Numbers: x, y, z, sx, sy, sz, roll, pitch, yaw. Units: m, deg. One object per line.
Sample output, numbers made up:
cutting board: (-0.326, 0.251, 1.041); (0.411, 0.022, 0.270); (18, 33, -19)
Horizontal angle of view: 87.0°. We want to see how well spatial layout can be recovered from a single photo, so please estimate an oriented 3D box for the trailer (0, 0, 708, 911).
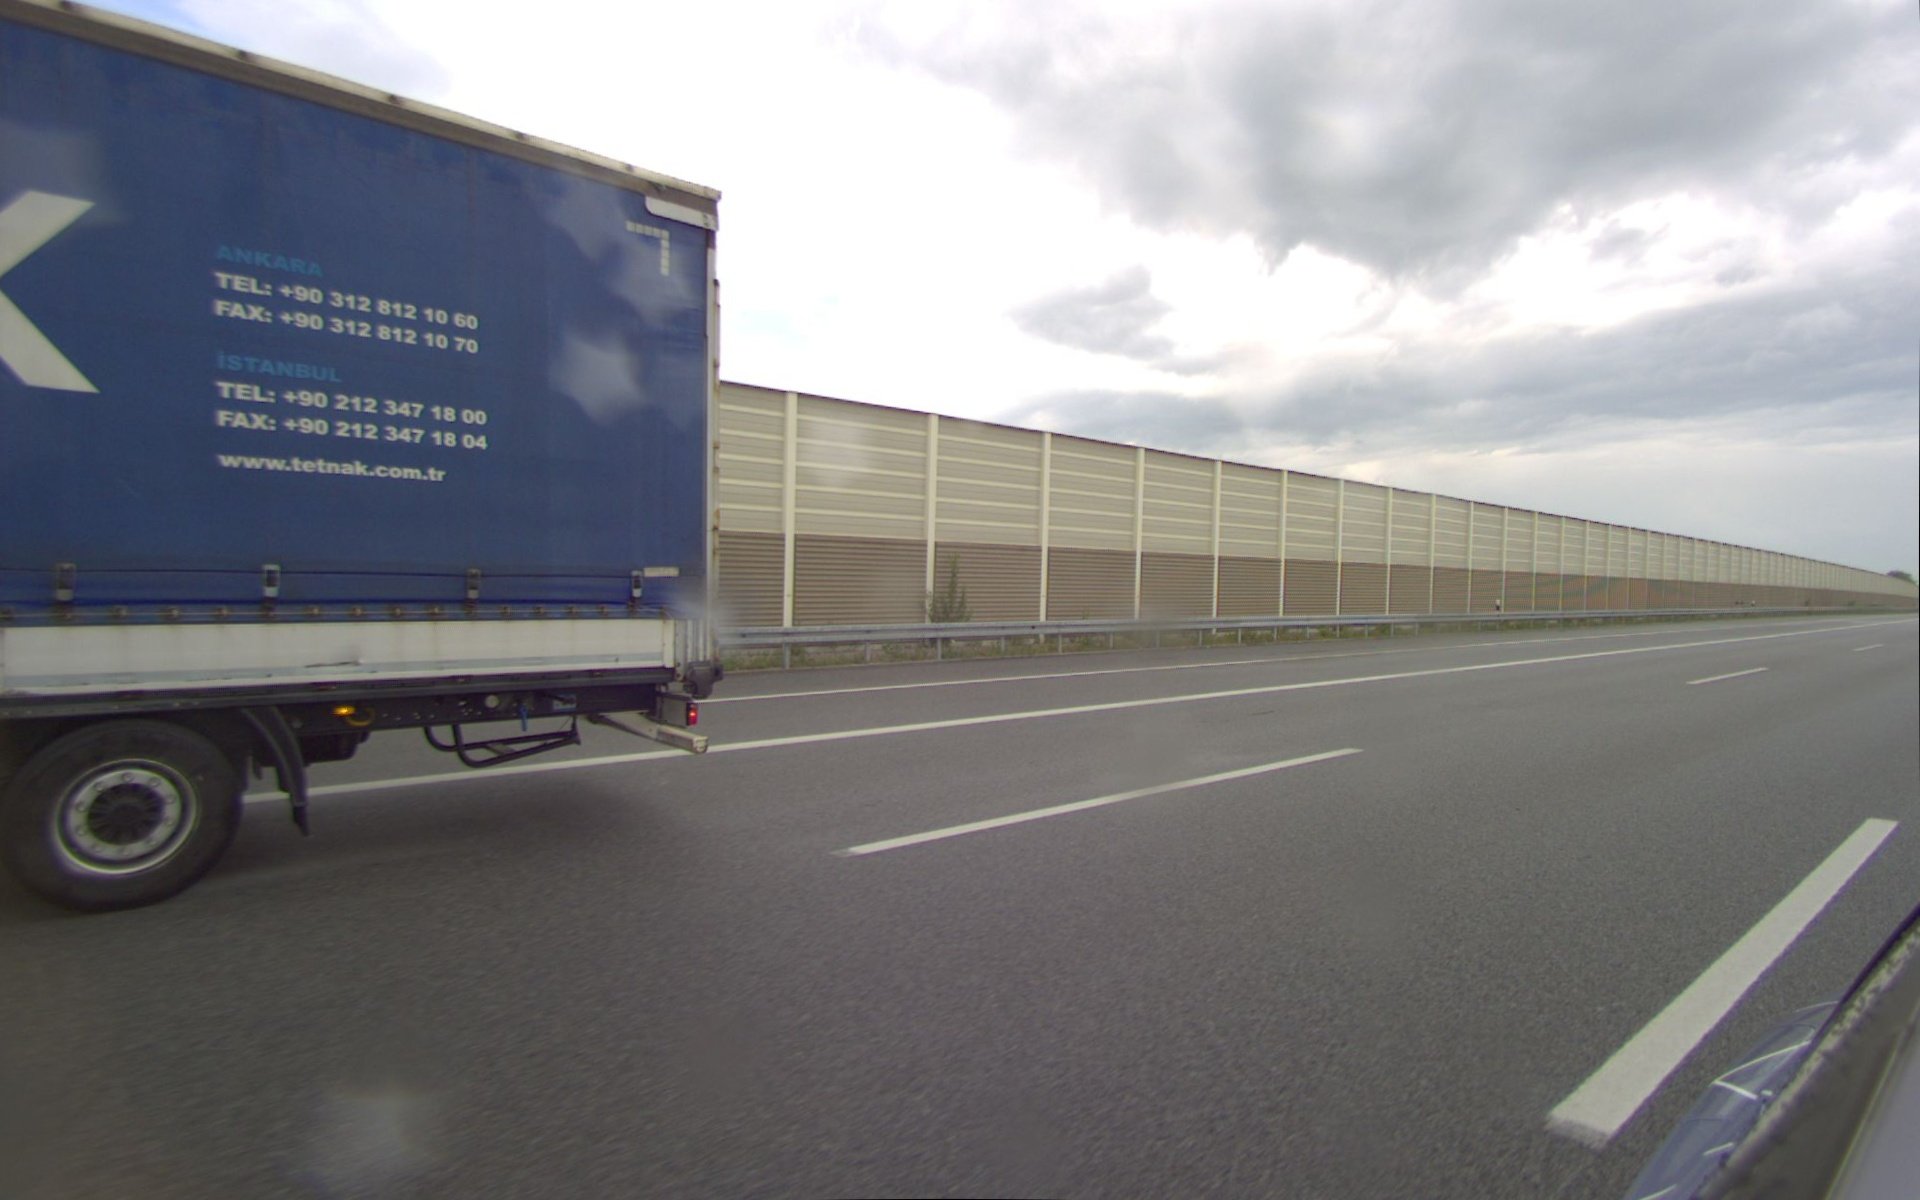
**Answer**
trailer: (-7.830, -0.734, 2.765); (14.202, 4.082, 2.766); (0, 1, -41)
